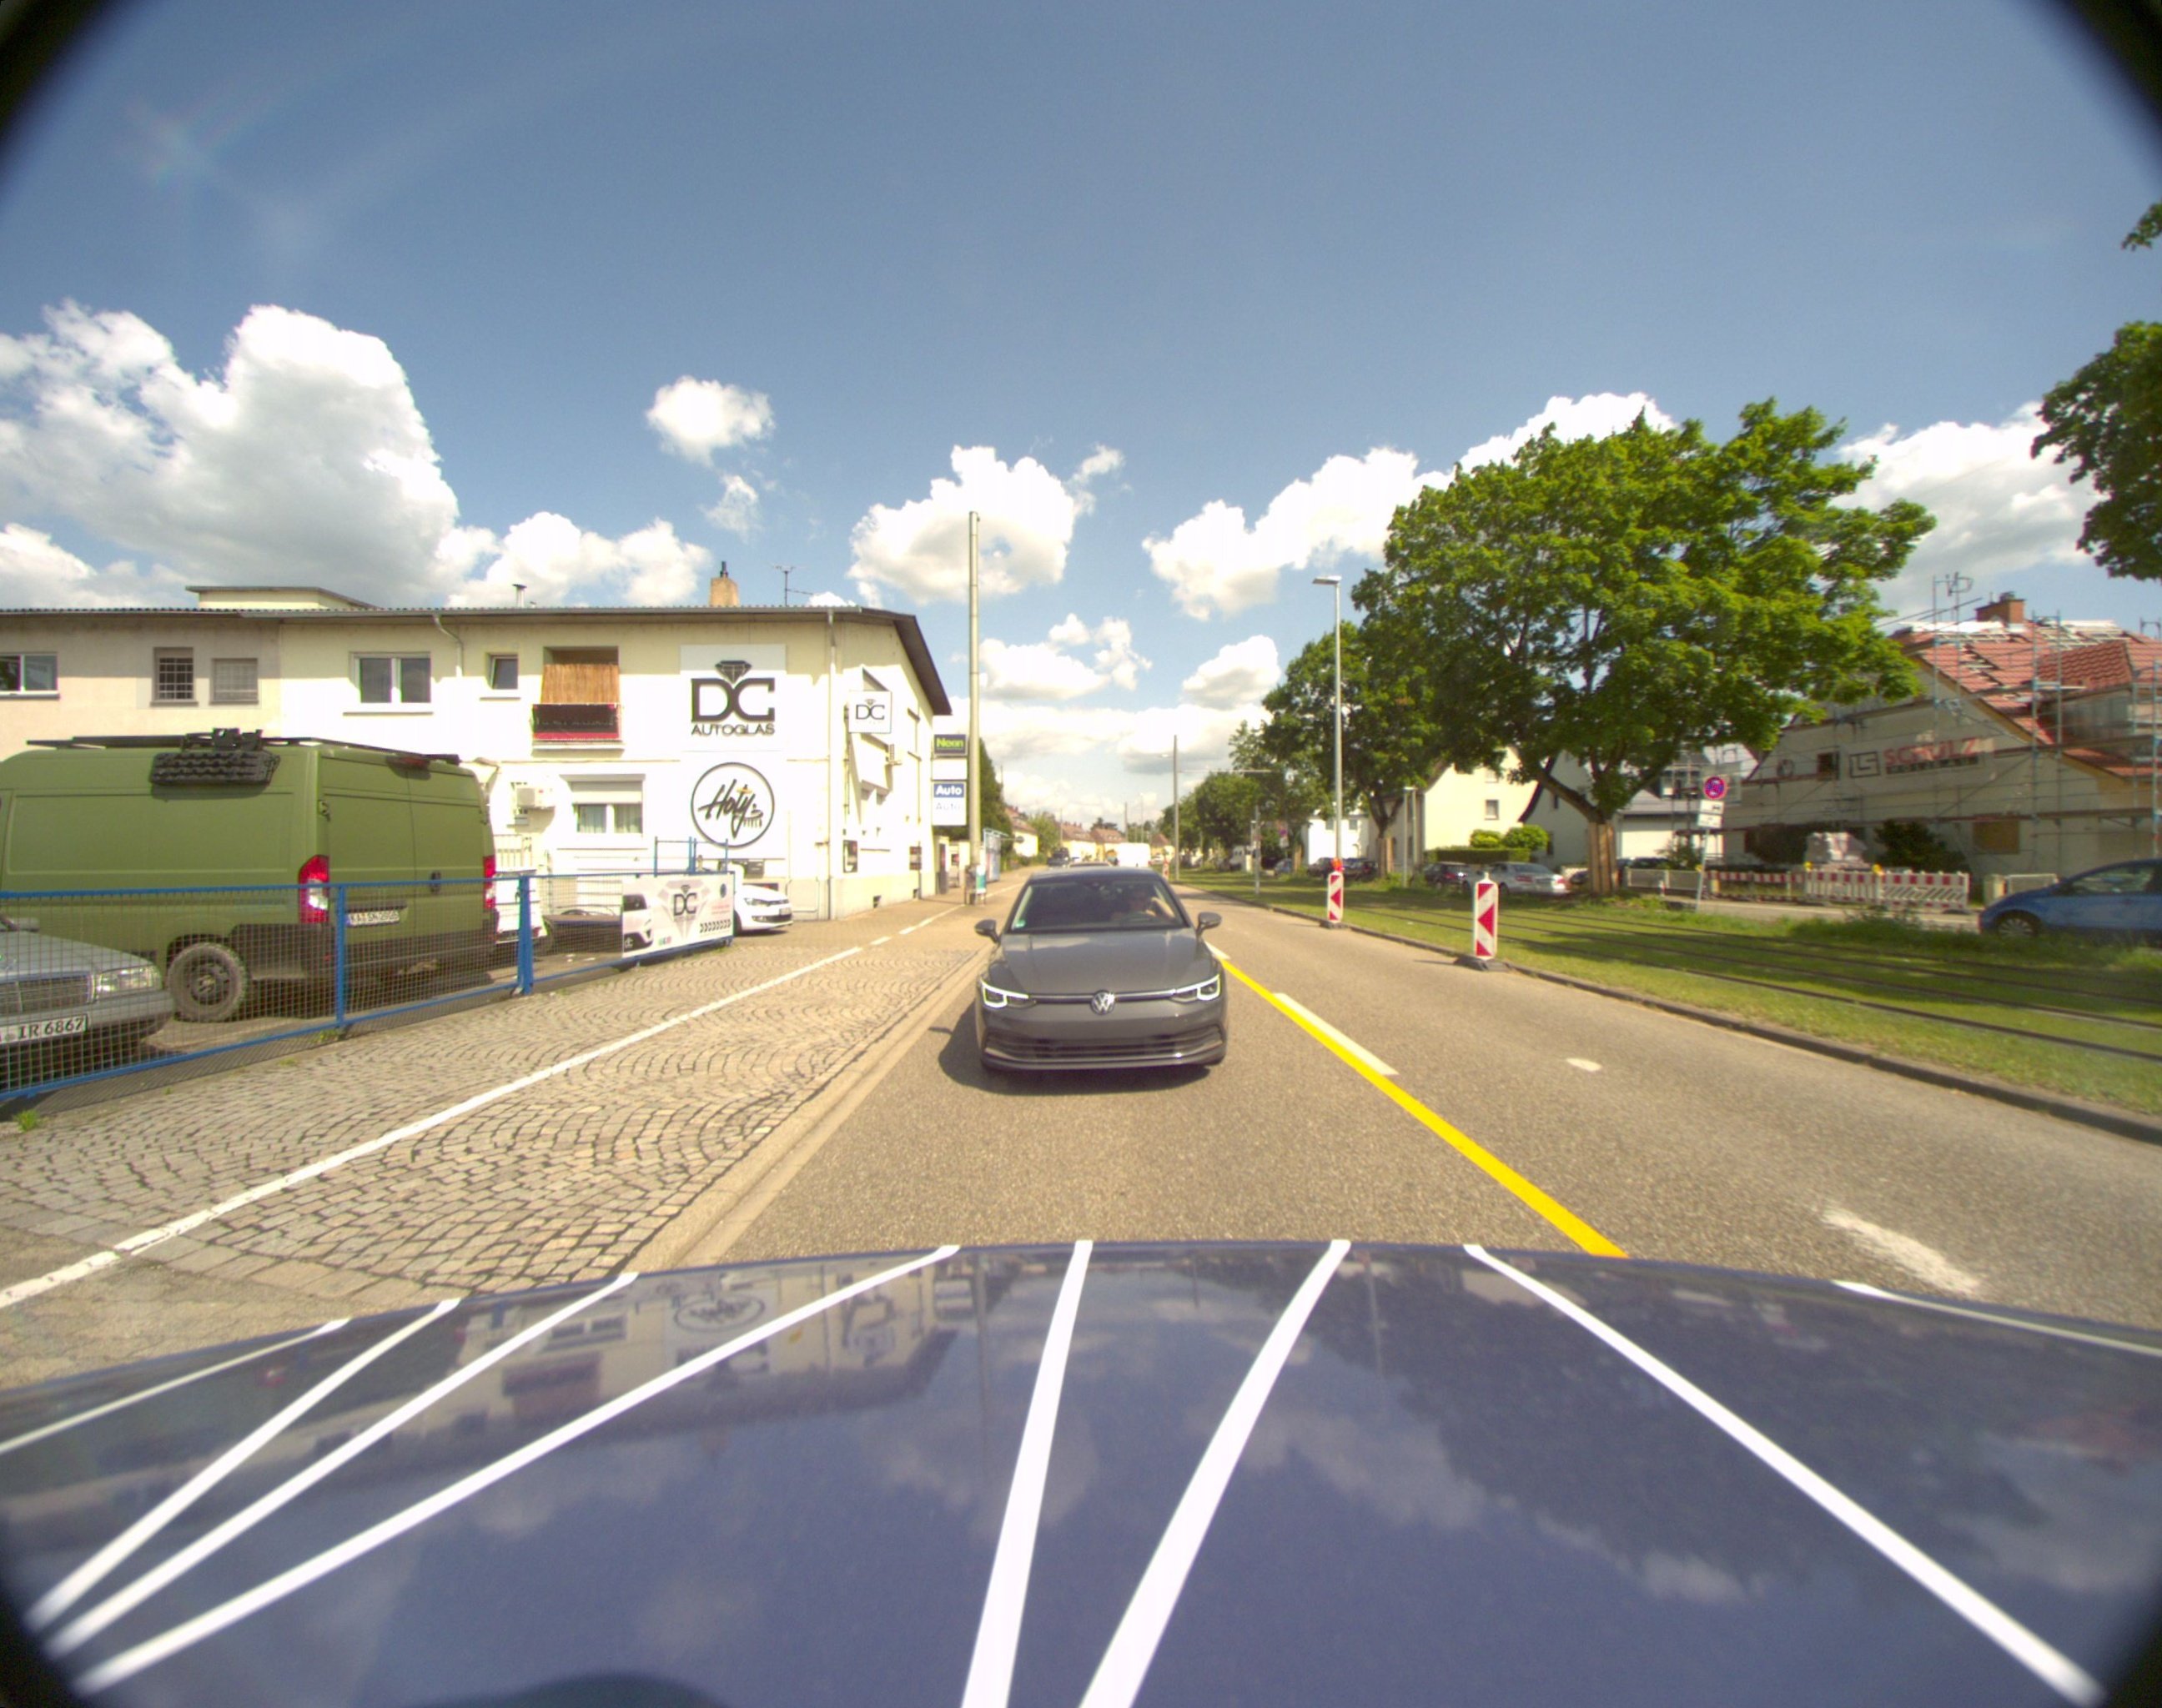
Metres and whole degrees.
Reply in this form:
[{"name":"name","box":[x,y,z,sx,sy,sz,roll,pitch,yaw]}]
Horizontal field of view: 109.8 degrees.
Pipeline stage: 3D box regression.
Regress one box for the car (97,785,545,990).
[{"name":"car","box":[-9.510,0.402,9.721,4.207,2.392,1.586,0,0,2]}]

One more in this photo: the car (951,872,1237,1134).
[{"name":"car","box":[0.102,0.936,6.533,1.702,1.477,4.000,0,0,1]}]

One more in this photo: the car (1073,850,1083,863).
[{"name":"car","box":[-0.509,0.421,136.410,1.701,2.233,4.947,0,0,2]}]

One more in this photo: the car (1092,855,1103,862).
[{"name":"car","box":[3.822,0.913,173.605,1.700,1.574,4.004,0,0,12]}]

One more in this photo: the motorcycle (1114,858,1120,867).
[{"name":"motorcycle","box":[4.009,0.960,84.621,0.658,1.040,2.111,0,0,2]}]

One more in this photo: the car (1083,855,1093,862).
[{"name":"car","box":[1.420,0.907,155.845,1.701,1.574,4.002,0,0,7]}]

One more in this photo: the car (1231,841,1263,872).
[{"name":"car","box":[16.801,0.275,77.281,2.136,3.019,5.084,-1,-1,1]}]

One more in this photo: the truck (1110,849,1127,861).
[{"name":"truck","box":[9.884,0.145,201.059,2.710,3.119,8.124,0,0,15]}]

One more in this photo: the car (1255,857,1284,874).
[{"name":"car","box":[17.631,1.079,71.336,1.702,1.477,4.407,-1,-1,1]}]

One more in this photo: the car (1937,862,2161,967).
[{"name":"car","box":[16.184,0.868,11.408,1.702,1.477,4.407,-1,-1,1]}]

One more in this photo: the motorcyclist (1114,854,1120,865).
[{"name":"motorcyclist","box":[4.001,0.608,84.514,0.658,1.284,0.780,0,0,1]}]

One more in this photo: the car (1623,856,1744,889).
[{"name":"car","box":[28.894,0.893,36.521,4.402,1.477,1.704,-1,-1,1]}]

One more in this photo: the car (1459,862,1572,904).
[{"name":"car","box":[16.410,1.069,28.982,1.788,1.477,4.523,-1,-1,2]}]

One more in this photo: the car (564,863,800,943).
[{"name":"car","box":[-7.671,0.916,14.824,3.775,1.454,1.555,0,0,2]}]

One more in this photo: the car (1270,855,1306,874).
[{"name":"car","box":[16.630,0.877,61.291,1.702,1.477,4.407,-1,-1,1]}]

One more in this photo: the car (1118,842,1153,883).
[{"name":"car","box":[3.596,0.506,49.183,2.090,2.449,5.844,2,0,6]}]

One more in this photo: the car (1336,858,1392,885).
[{"name":"car","box":[16.758,1.037,45.164,1.702,1.477,4.407,-1,-1,1]}]

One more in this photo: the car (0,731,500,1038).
[{"name":"car","box":[-8.734,0.271,7.616,4.207,2.627,2.113,0,0,2]}]

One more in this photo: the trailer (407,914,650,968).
[{"name":"trailer","box":[-8.376,1.306,11.666,2.733,0.662,1.329,0,0,-1]}]

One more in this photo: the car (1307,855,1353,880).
[{"name":"car","box":[16.541,0.901,50.670,1.702,1.562,4.407,-1,-1,1]}]

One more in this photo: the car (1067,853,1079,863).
[{"name":"car","box":[-1.335,0.673,123.047,1.701,1.574,4.001,0,0,3]}]

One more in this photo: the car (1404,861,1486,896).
[{"name":"car","box":[16.614,1.122,34.946,1.702,1.477,4.407,-1,-1,1]}]

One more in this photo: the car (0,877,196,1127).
[{"name":"car","box":[-8.467,0.888,4.780,4.282,1.444,1.713,0,0,8]}]

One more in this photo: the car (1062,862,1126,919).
[{"name":"car","box":[0.366,0.996,22.205,1.702,1.477,4.000,0,0,1]}]

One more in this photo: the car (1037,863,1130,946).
[{"name":"car","box":[0.071,0.941,15.867,1.702,1.477,4.000,0,0,1]}]

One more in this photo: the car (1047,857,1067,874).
[{"name":"car","box":[-2.200,1.048,70.761,1.702,1.574,4.000,0,0,1]}]

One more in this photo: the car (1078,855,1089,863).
[{"name":"car","box":[0.463,0.904,146.714,1.701,1.574,4.002,0,0,6]}]

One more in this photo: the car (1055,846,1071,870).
[{"name":"car","box":[-1.929,0.450,82.446,1.702,2.510,5.144,0,0,0]}]
